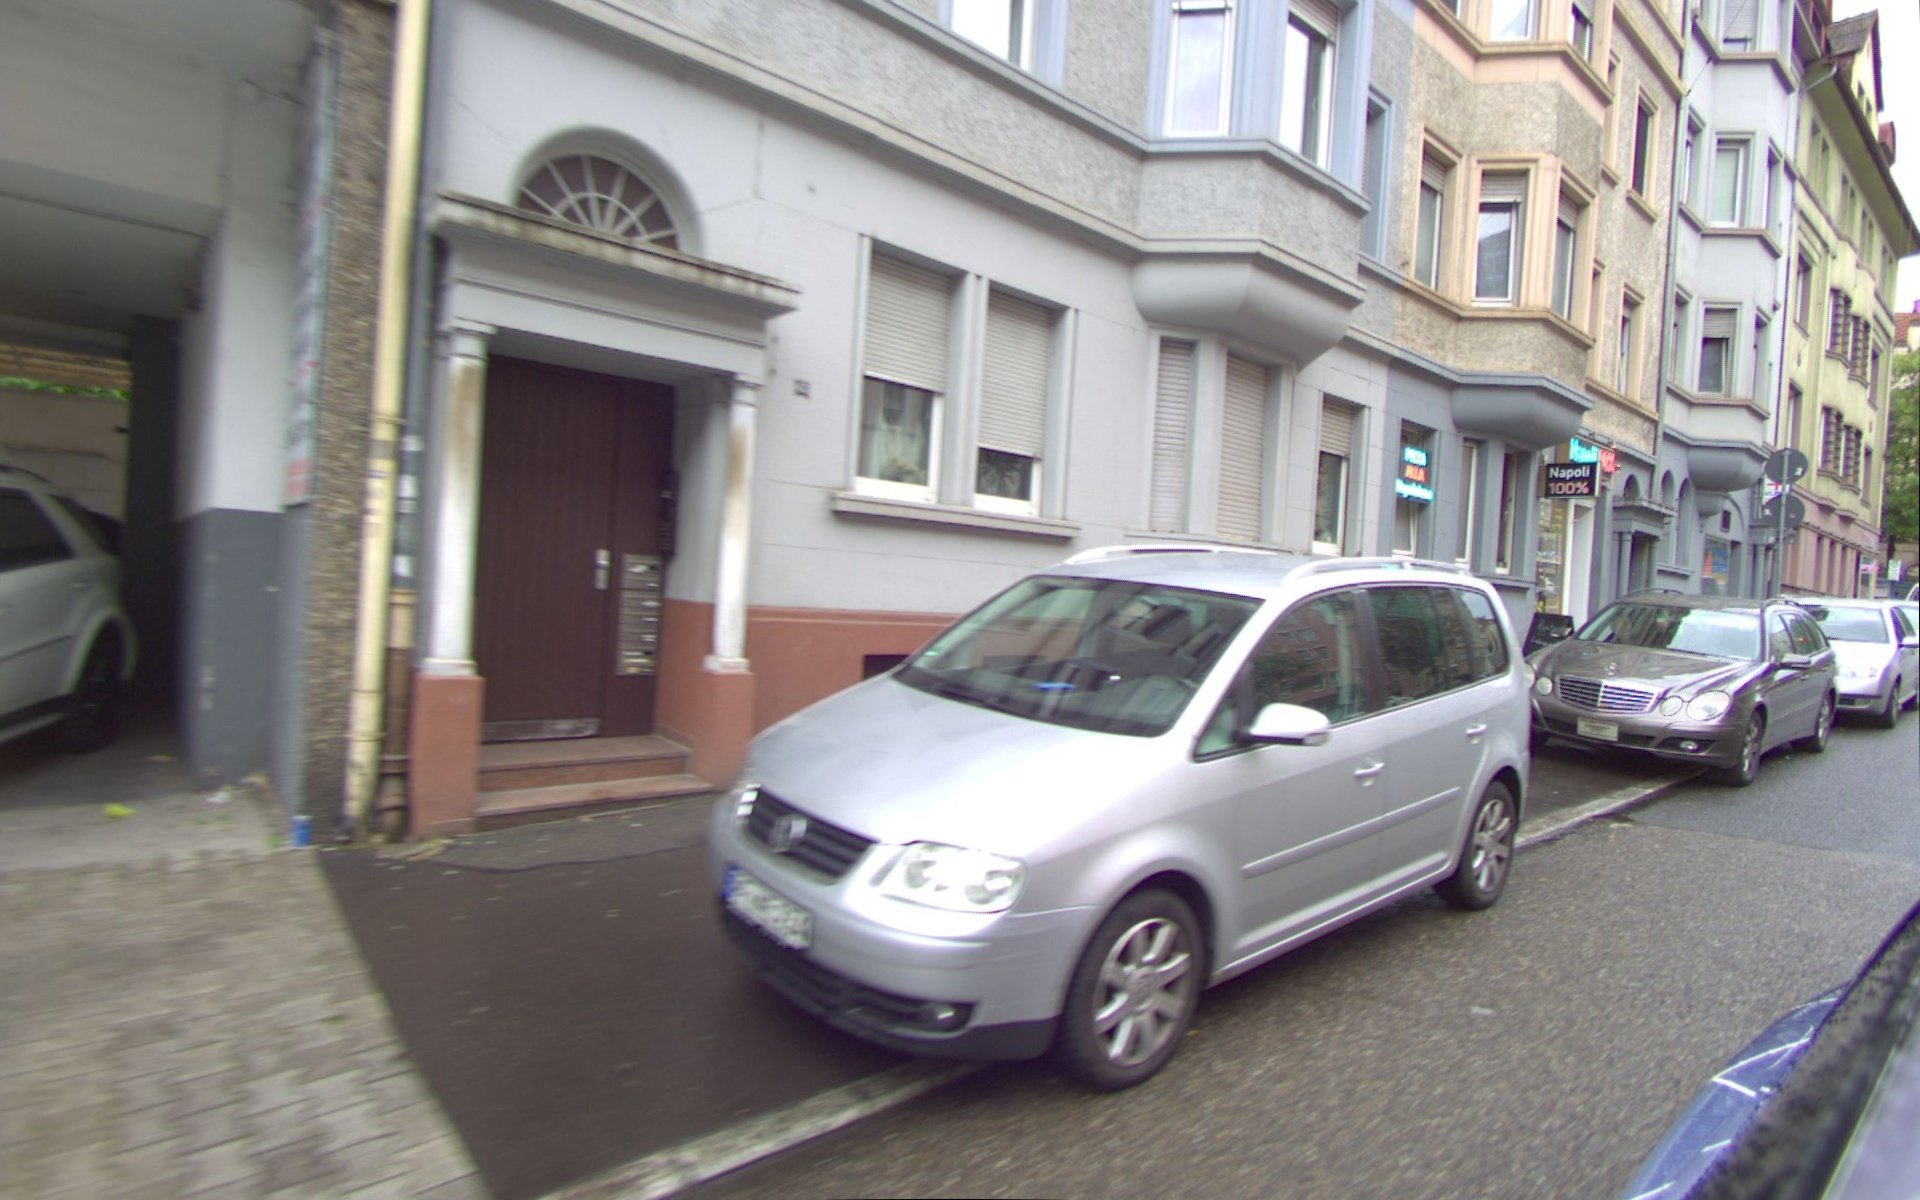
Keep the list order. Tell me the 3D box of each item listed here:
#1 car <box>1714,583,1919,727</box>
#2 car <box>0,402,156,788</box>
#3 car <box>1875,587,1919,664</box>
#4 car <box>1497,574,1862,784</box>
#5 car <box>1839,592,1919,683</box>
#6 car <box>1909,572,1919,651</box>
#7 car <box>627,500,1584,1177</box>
[{"bbox_3d":[11.244,0.592,12.916,3.863,1.459,1.709,0,4,-40],"label":"car"},{"bbox_3d":[-5.958,-0.017,4.916,1.958,2.038,4.475,0,3,-22],"label":"car"},{"bbox_3d":[20.371,0.530,20.835,3.863,1.459,1.709,0,4,-40],"label":"car"},{"bbox_3d":[6.880,0.571,9.495,4.281,1.459,1.731,0,4,-40],"label":"car"},{"bbox_3d":[16.318,0.586,17.068,3.863,1.414,1.708,0,0,-40],"label":"car"},{"bbox_3d":[24.755,0.333,24.650,4.440,1.841,1.826,0,4,-40],"label":"car"},{"bbox_3d":[0.958,0.514,4.433,4.235,1.617,1.731,0,4,-40],"label":"car"}]
